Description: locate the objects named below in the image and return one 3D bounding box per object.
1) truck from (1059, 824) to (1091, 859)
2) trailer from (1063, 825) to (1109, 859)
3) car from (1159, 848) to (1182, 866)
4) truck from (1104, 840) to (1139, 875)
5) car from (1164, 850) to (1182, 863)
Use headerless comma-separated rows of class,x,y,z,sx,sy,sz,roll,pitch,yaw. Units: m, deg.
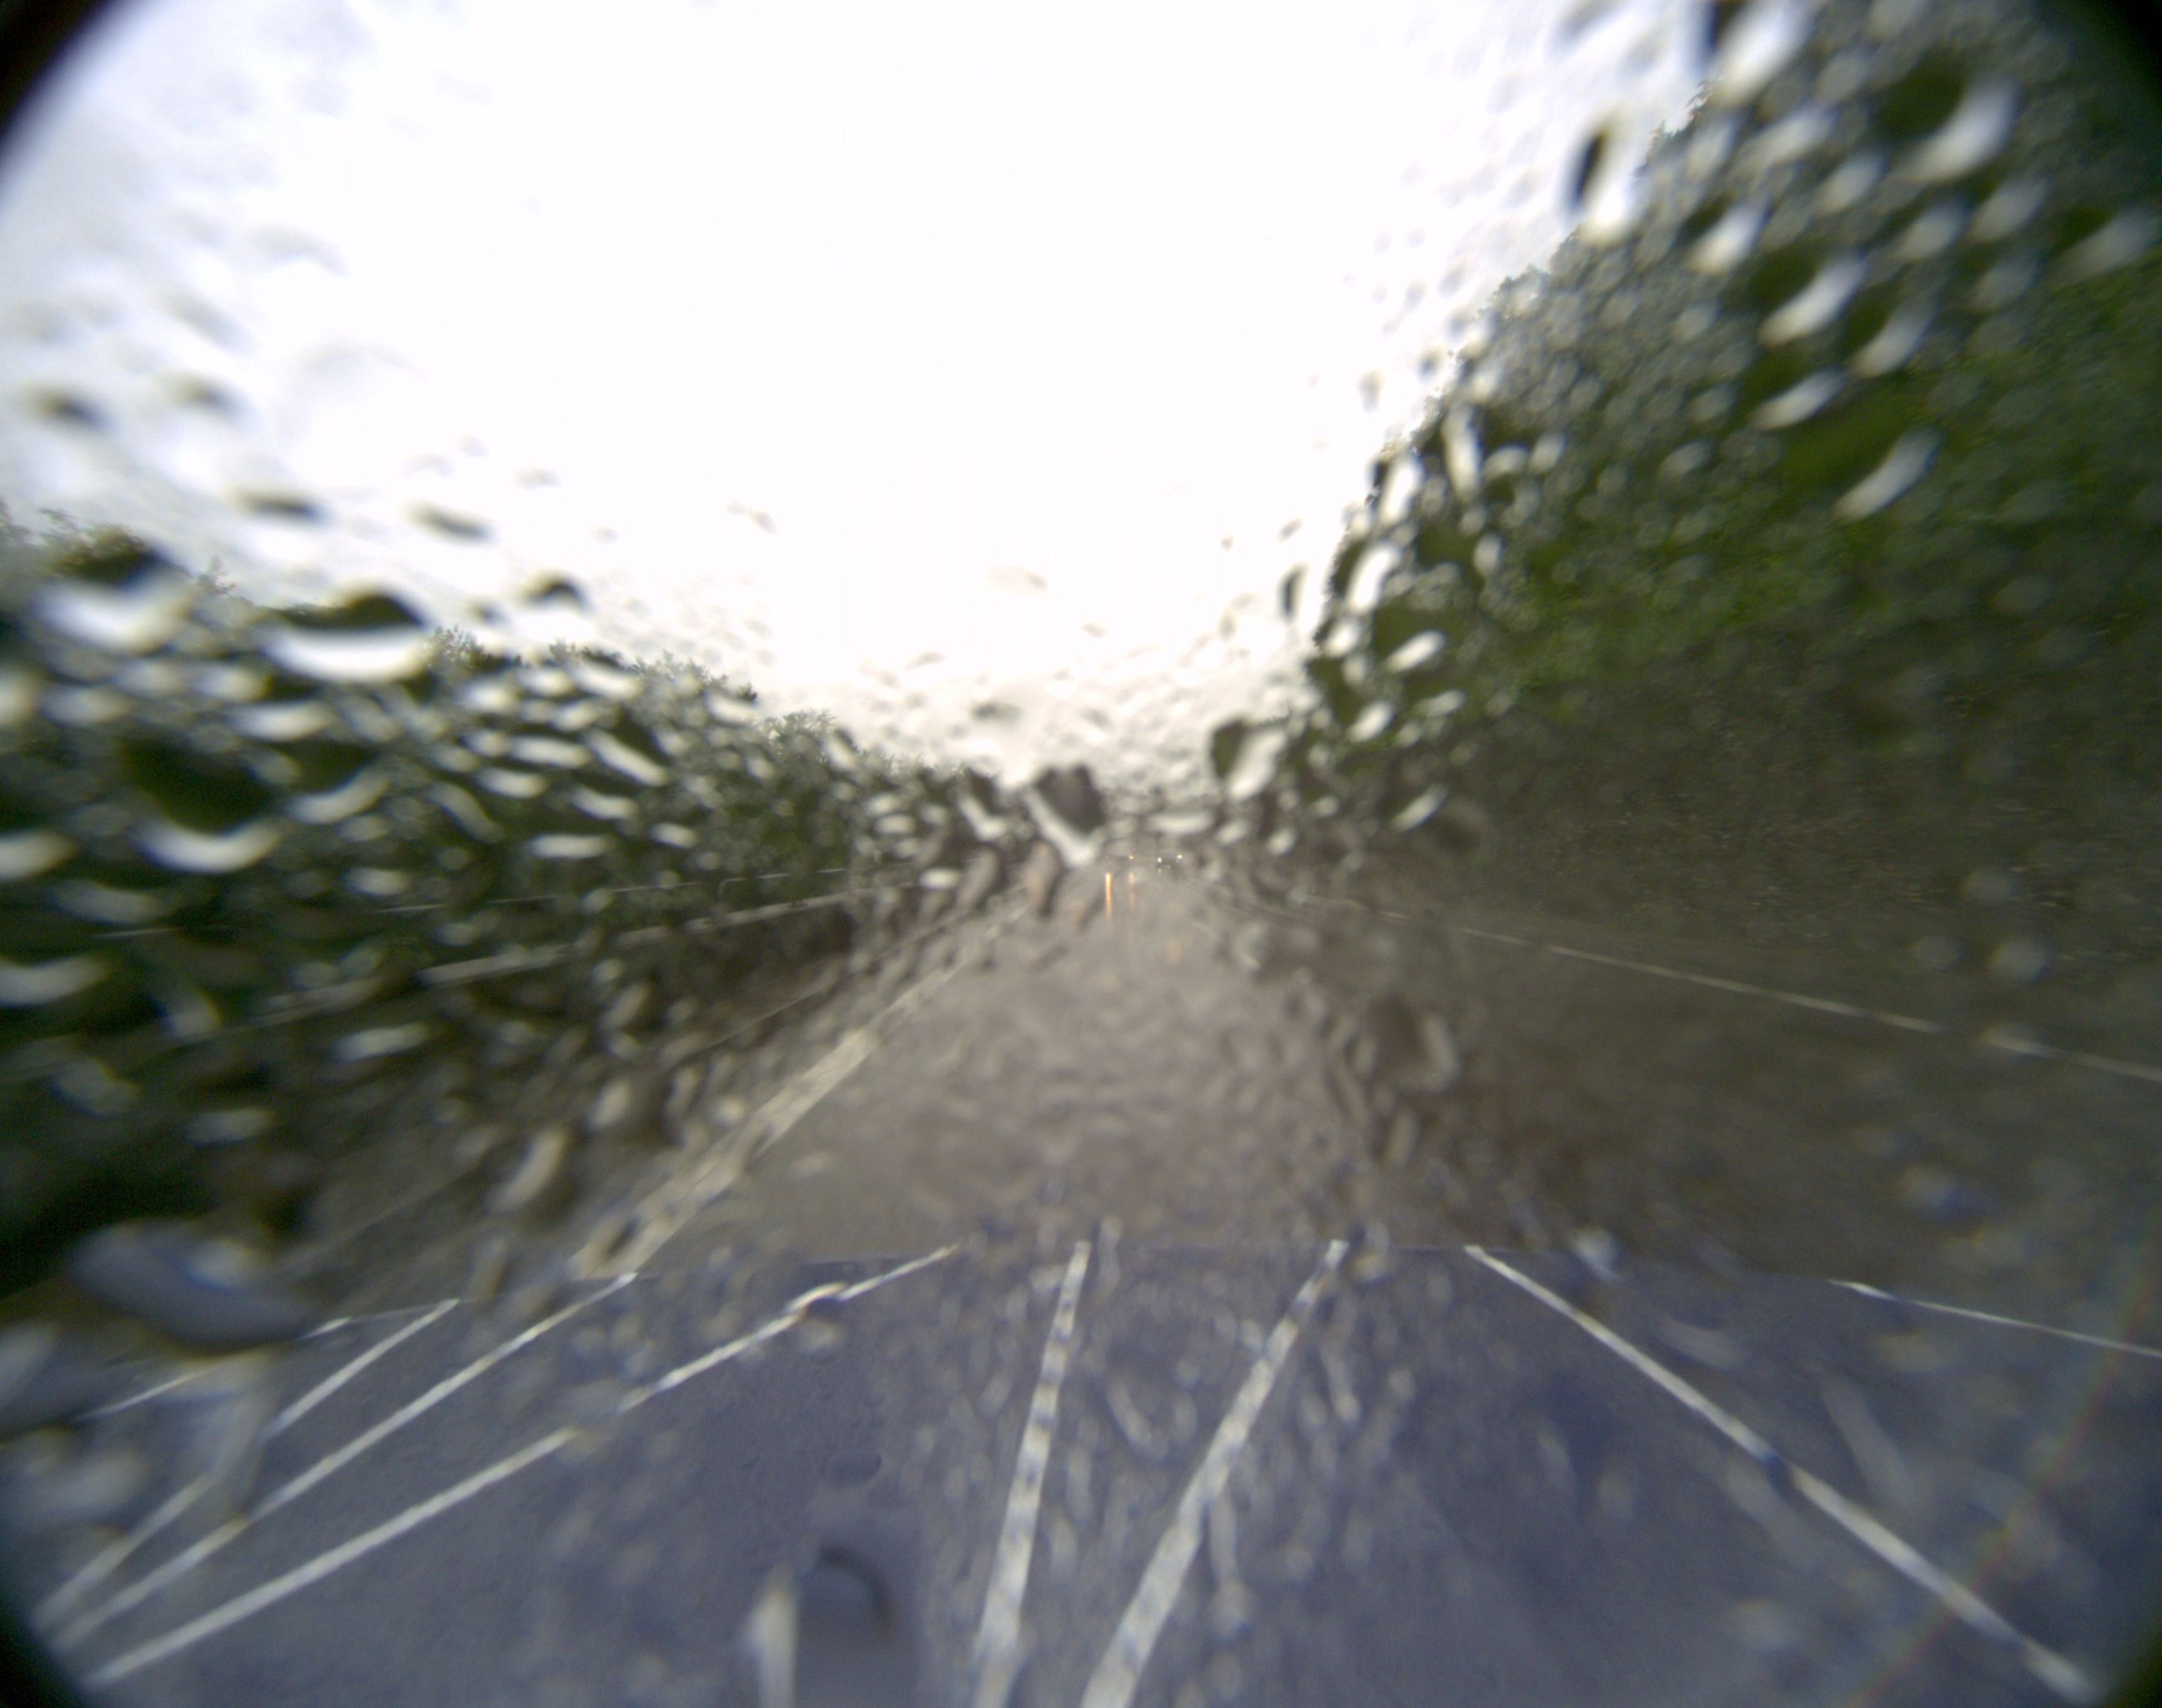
truck,-0.737,-1.583,97.687,2.809,4.280,6.470,-1,1,10
trailer,0.879,-1.656,105.266,2.938,4.280,14.250,-1,1,14
car,7.520,0.206,64.006,1.826,1.375,4.002,-2,1,7
truck,3.195,0.268,58.044,2.107,2.481,8.007,0,0,7
car,10.992,0.301,90.237,1.826,1.375,4.002,-3,1,10
